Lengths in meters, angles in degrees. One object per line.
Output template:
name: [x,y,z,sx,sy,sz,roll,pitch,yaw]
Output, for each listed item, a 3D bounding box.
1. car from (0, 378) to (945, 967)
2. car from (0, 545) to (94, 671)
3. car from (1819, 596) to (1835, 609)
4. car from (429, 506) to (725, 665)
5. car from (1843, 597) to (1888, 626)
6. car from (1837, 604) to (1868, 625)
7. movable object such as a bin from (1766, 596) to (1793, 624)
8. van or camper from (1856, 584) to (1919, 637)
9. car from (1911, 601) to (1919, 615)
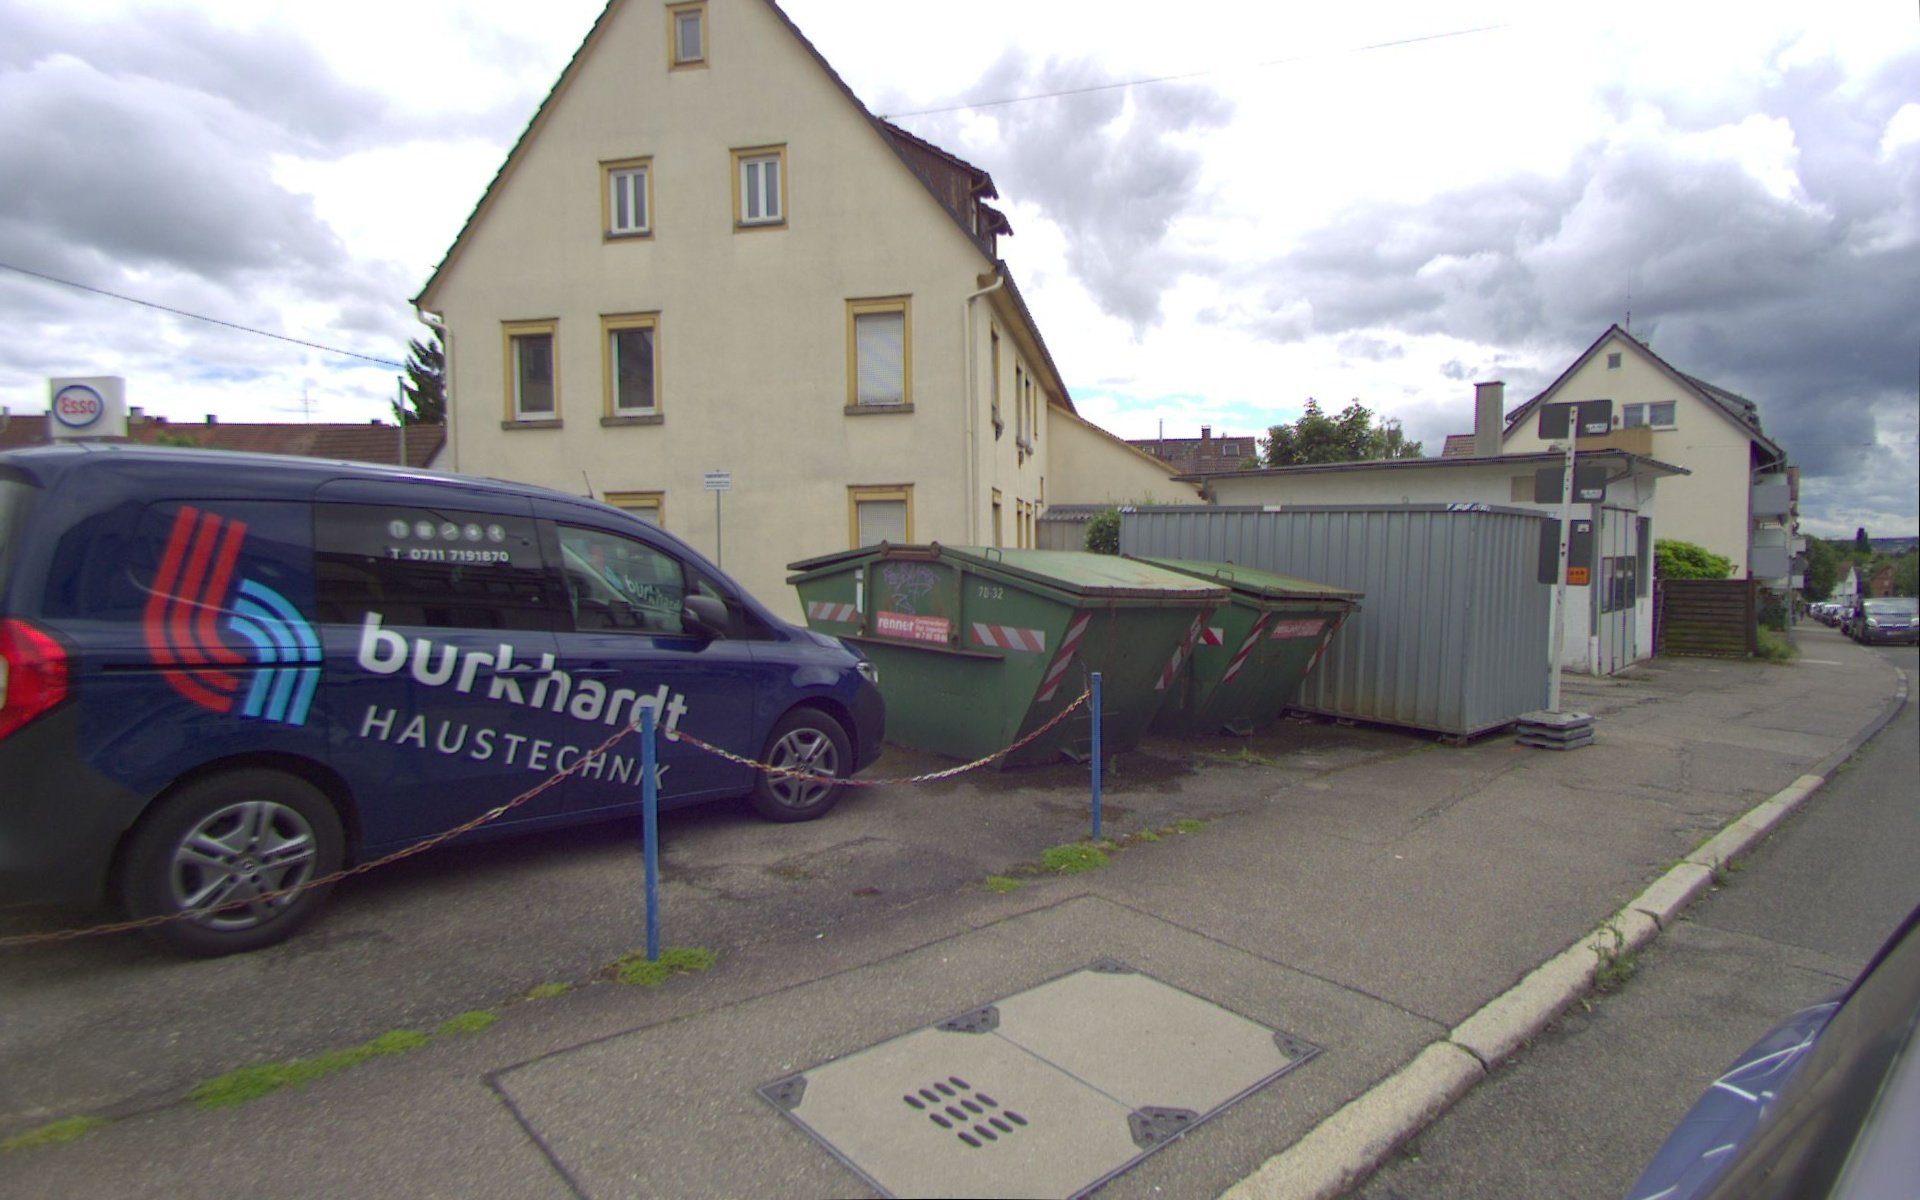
car: [-2.229,0.170,5.124,1.745,1.761,4.505,4,3,40]
car: [-13.435,0.113,12.503,1.746,1.638,3.988,0,0,10]
car: [123.648,0.302,144.409,1.606,1.822,3.804,-1,0,39]
car: [-4.767,-0.161,13.274,1.840,1.750,3.987,0,0,11]
car: [47.918,0.586,53.620,1.606,1.473,3.804,0,0,39]
car: [66.498,1.088,75.436,1.606,1.473,3.804,0,0,39]
movable object such as a bin: [43.380,0.537,53.544,1.078,1.455,1.242,-1,-1,40]
van or camper: [38.414,0.415,41.665,1.990,2.039,4.992,-1,-1,39]
car: [111.696,0.916,117.431,1.700,1.551,3.682,6,4,40]
